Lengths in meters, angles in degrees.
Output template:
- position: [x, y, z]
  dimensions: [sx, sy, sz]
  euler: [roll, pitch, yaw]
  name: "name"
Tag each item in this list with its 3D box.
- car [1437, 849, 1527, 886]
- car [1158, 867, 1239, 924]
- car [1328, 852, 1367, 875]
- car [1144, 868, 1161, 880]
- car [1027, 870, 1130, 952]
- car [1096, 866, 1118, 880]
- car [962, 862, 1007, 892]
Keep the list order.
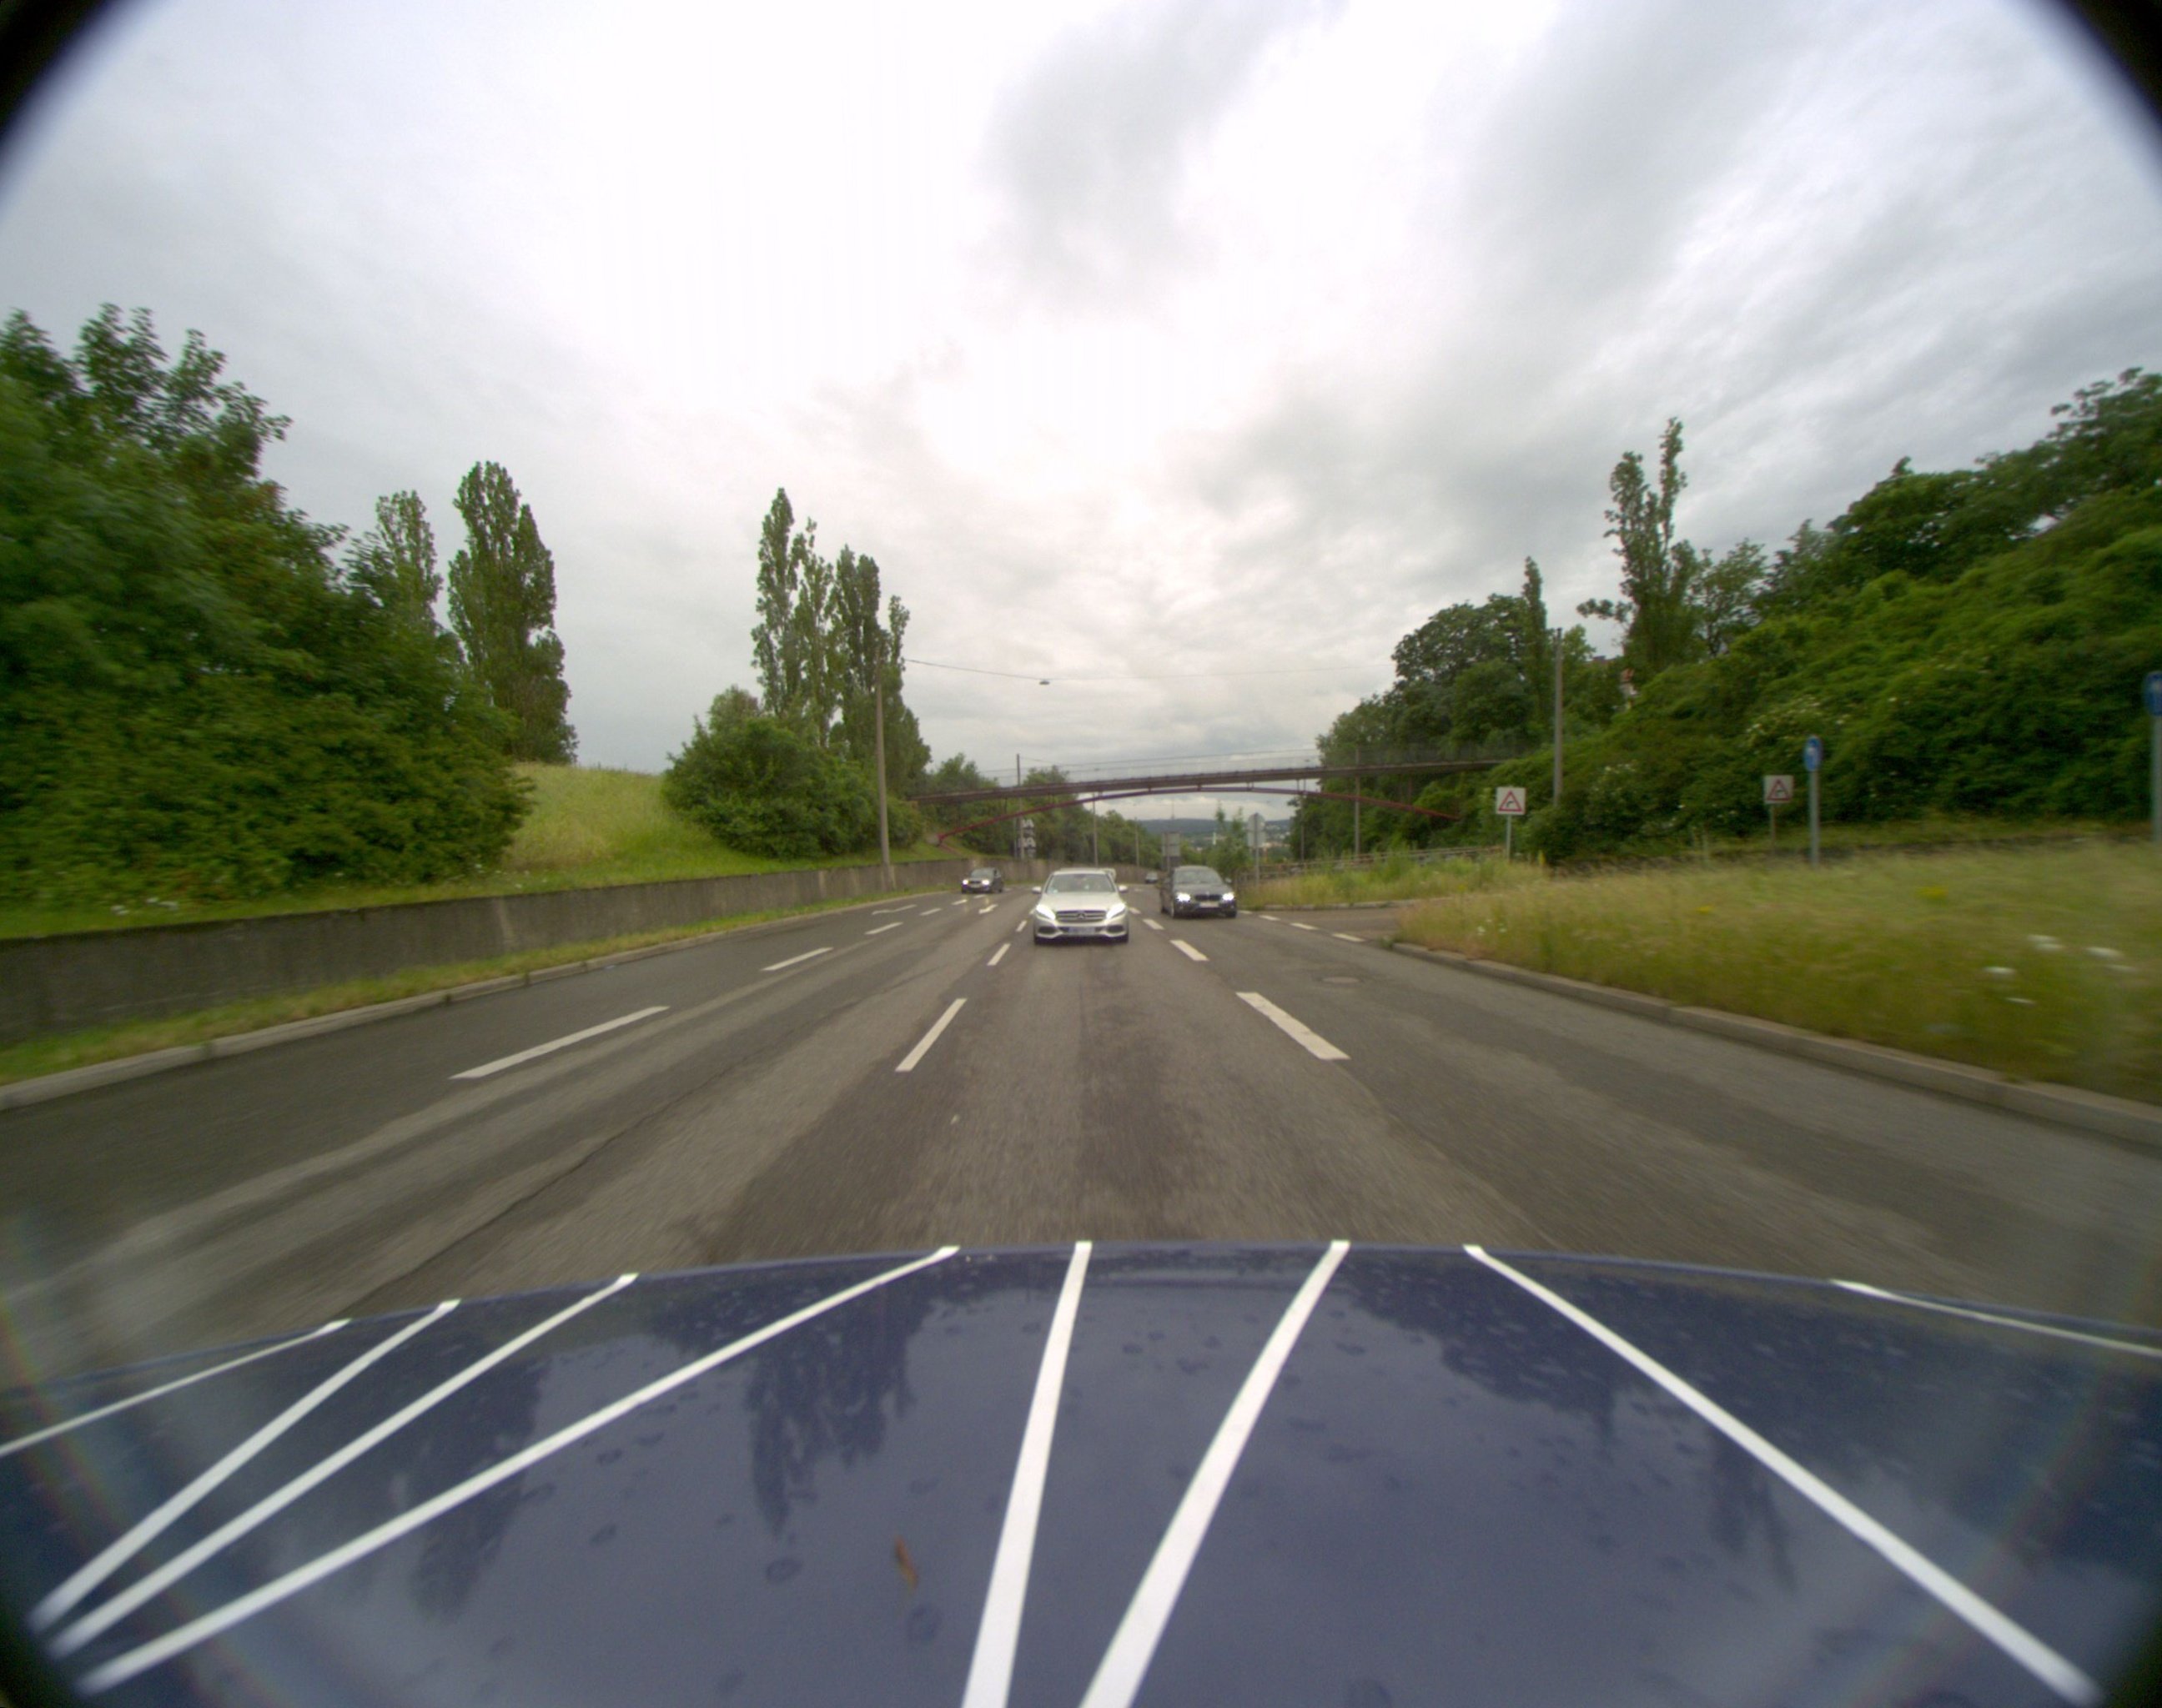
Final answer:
- position: [20.064, 0.635, 38.300]
  dimensions: [1.998, 1.627, 4.723]
  euler: [-3, 0, 1]
  name: "car"
- position: [3.298, 1.128, 21.959]
  dimensions: [1.729, 1.462, 3.888]
  euler: [-1, -1, 0]
  name: "car"
- position: [21.673, 0.769, 61.972]
  dimensions: [1.997, 1.824, 4.633]
  euler: [-1, 0, 6]
  name: "car"
- position: [9.516, 2.584, 100.604]
  dimensions: [1.808, 1.501, 4.004]
  euler: [-2, -1, 11]
  name: "car"
- position: [0.018, 1.086, 15.978]
  dimensions: [1.861, 1.394, 4.315]
  euler: [-1, 0, 2]
  name: "car"
- position: [3.145, 2.234, 90.890]
  dimensions: [1.808, 1.501, 4.005]
  euler: [-2, -1, 15]
  name: "car"
- position: [-5.281, 1.253, 42.006]
  dimensions: [1.809, 1.501, 4.001]
  euler: [-2, -1, 3]
  name: "car"
